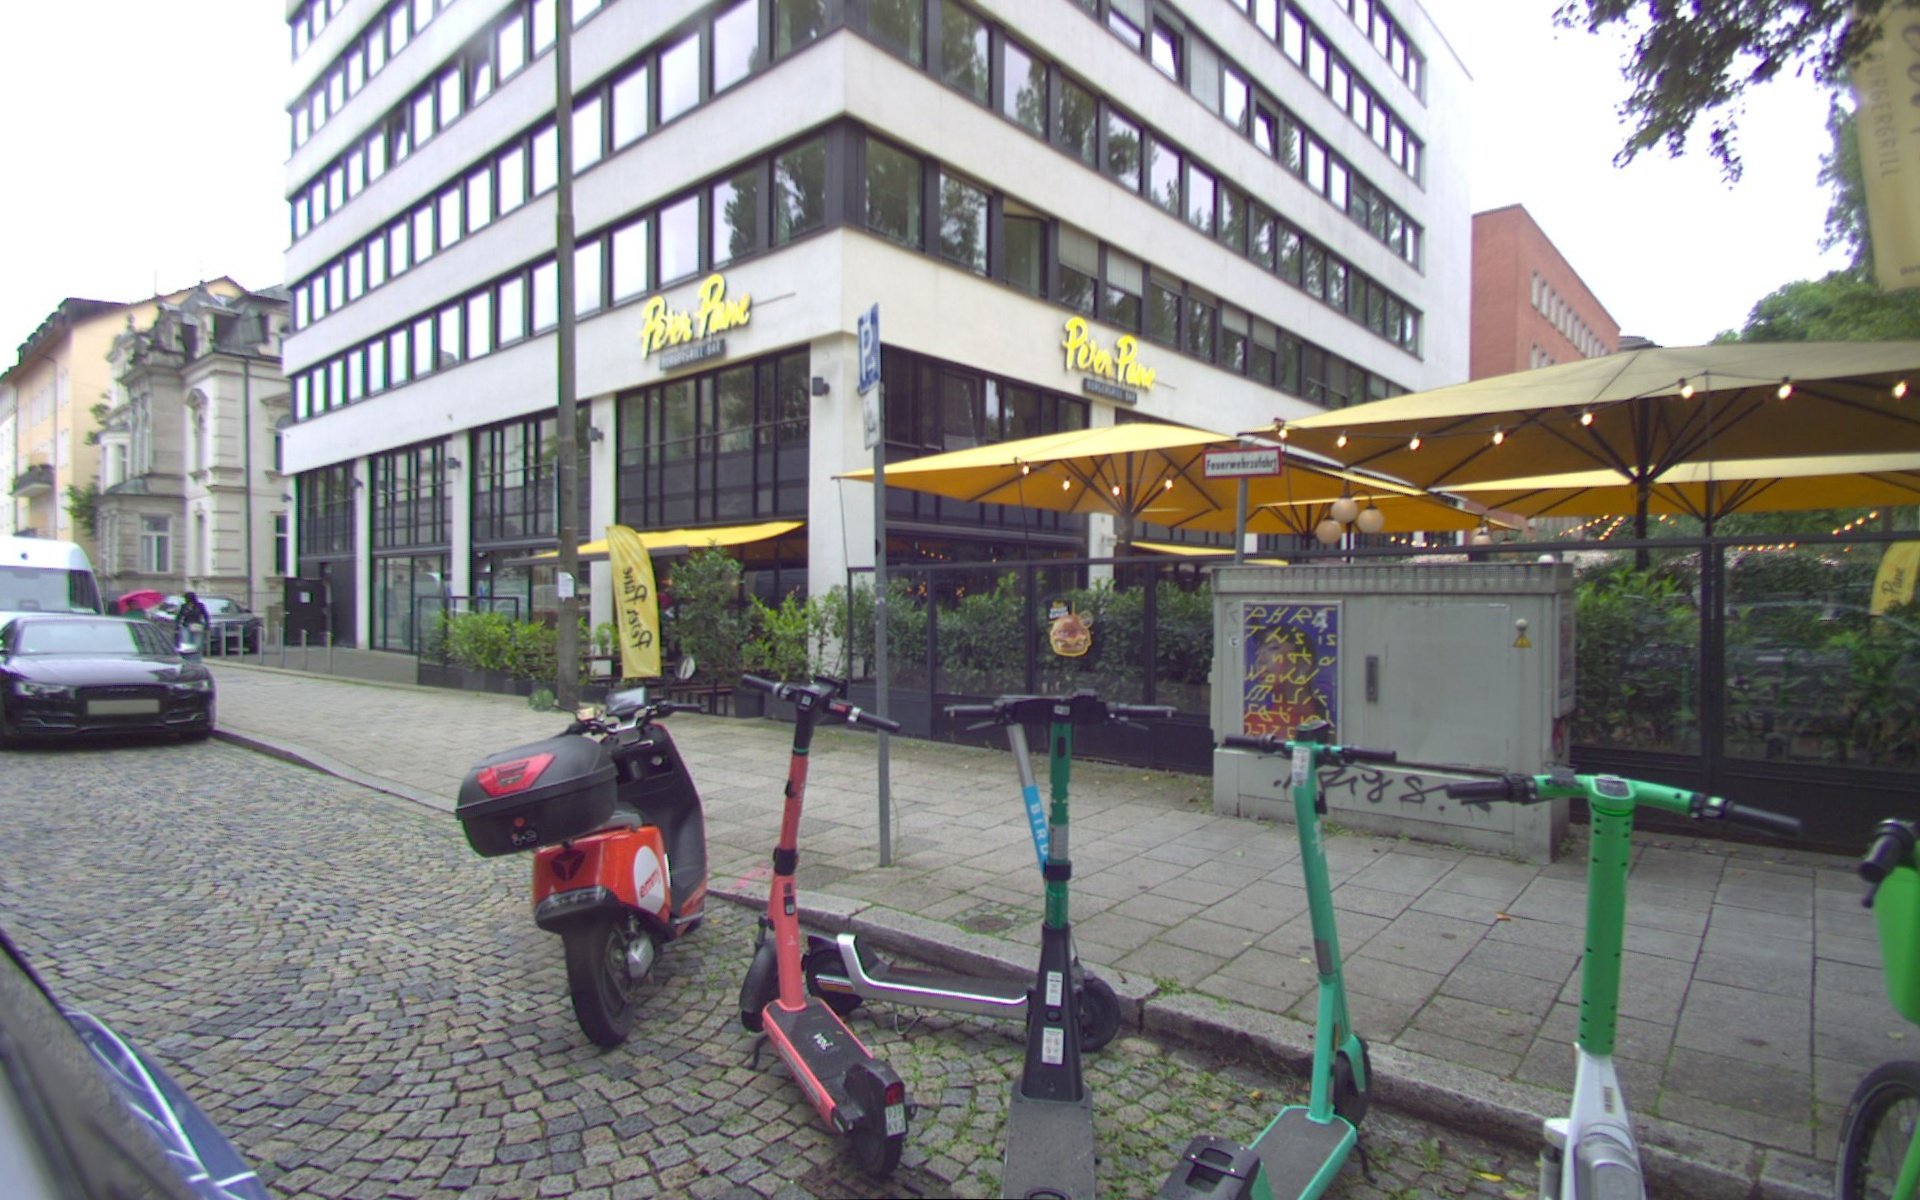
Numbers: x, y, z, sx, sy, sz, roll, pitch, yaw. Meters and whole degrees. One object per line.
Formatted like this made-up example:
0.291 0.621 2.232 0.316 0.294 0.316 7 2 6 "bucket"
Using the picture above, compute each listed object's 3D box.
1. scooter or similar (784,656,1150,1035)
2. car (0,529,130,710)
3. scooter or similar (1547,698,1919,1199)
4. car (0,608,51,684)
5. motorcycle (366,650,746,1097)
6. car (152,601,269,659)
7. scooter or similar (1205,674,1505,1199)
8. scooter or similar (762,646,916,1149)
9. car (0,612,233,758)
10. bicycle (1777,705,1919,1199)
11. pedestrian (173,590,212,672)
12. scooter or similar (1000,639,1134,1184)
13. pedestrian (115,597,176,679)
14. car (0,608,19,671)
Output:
0.035 0.807 3.565 1.237 1.189 0.389 0 0 10 "scooter or similar"
-15.289 0.270 16.208 5.844 2.509 2.039 0 -1 40 "car"
1.379 0.810 1.694 0.366 1.153 1.422 0 0 17 "scooter or similar"
-19.904 0.881 20.435 4.000 1.441 1.971 0 -1 43 "car"
-1.381 0.843 3.939 0.760 1.205 1.992 0 0 -2 "motorcycle"
-21.522 0.795 29.016 4.168 1.544 1.887 0 0 42 "car"
1.080 0.809 2.635 0.327 1.153 1.234 0 0 41 "scooter or similar"
-0.455 0.829 3.408 0.322 1.282 1.361 0 0 -15 "scooter or similar"
-10.047 0.826 11.580 4.115 1.340 1.972 0 0 42 "car"
1.804 0.791 1.168 0.548 1.151 1.757 0 0 10 "bicycle"
-16.695 0.659 22.015 0.651 1.761 0.567 0 0 44 "pedestrian"
0.368 0.786 3.119 0.324 1.282 1.247 0 0 10 "scooter or similar"
-17.457 0.796 21.692 0.800 1.719 0.916 0 0 44 "pedestrian"
-23.409 0.891 23.396 3.997 1.399 1.973 0 -1 40 "car"
